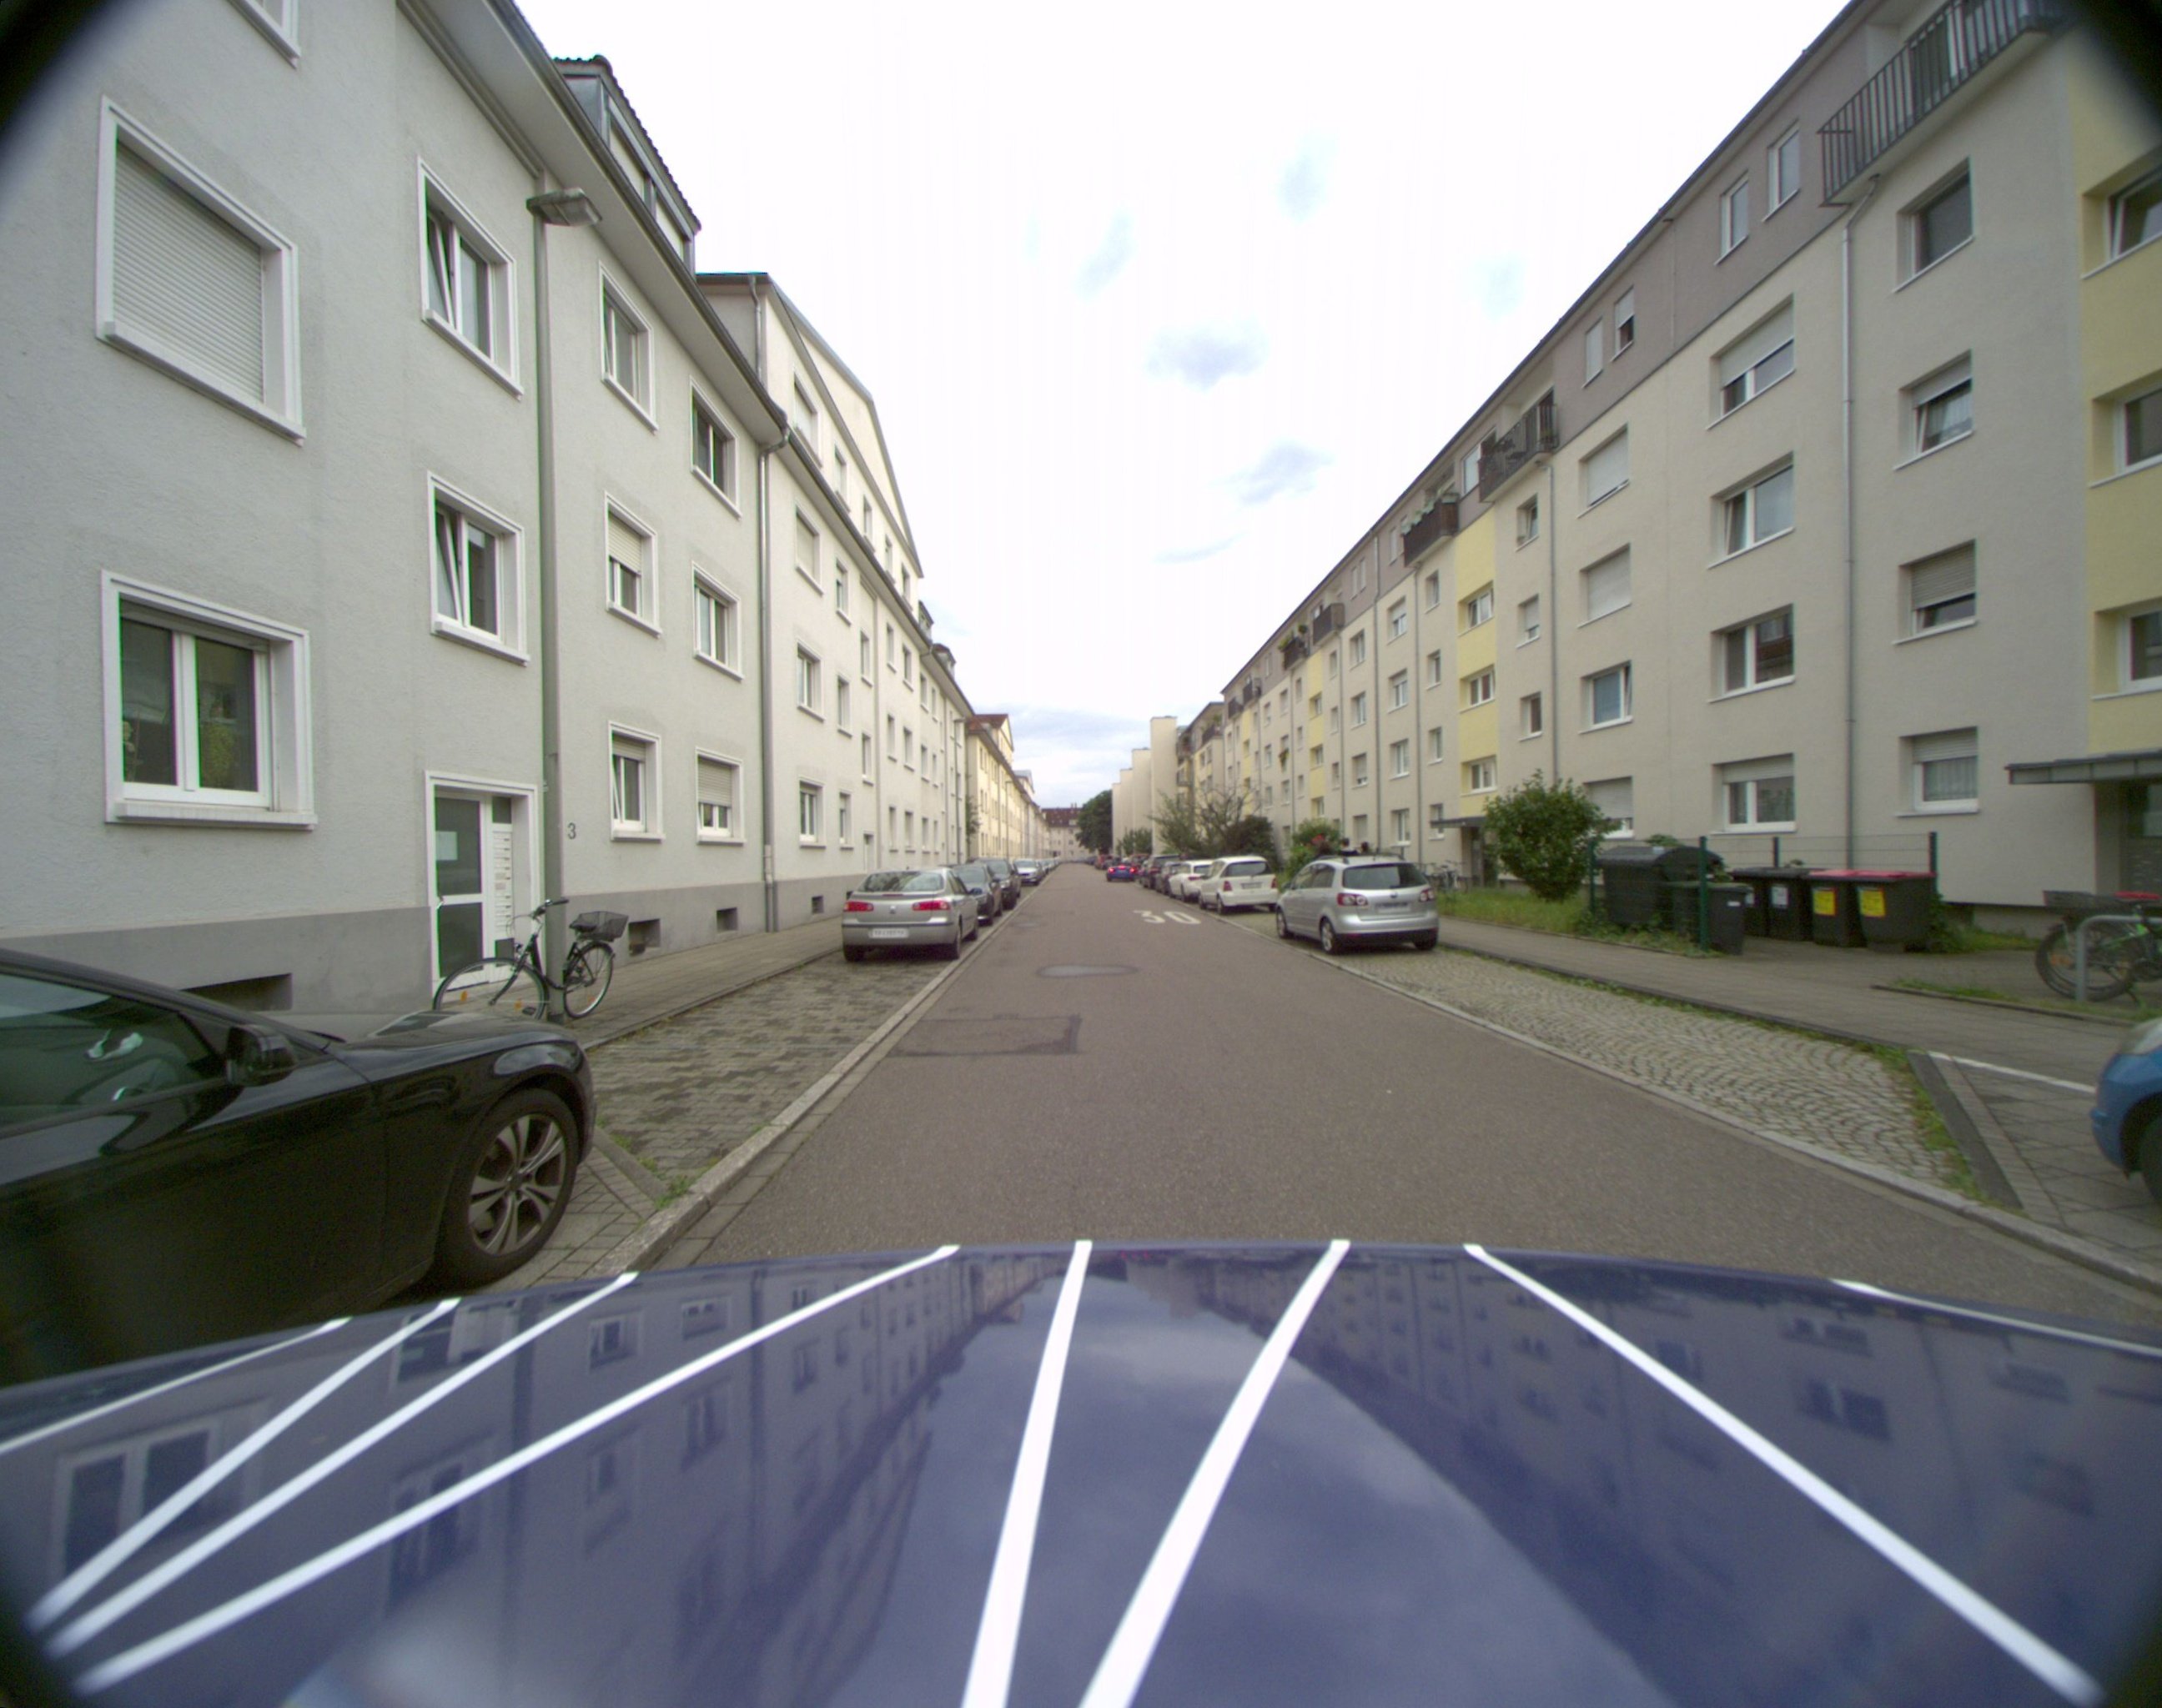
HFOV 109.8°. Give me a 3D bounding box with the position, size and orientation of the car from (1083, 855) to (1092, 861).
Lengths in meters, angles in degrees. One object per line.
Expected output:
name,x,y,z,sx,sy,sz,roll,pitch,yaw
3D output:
car,1.697,0.955,191.187,1.746,1.534,3.636,-1,0,-7

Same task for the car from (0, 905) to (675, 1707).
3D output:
car,-2.813,0.967,1.275,1.865,1.454,4.724,0,0,-2

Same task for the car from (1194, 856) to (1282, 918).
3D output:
car,4.550,0.900,22.477,1.690,1.629,3.727,-1,0,-2

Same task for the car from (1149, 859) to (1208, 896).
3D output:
car,4.187,0.975,33.258,1.730,1.445,4.481,-1,0,-3

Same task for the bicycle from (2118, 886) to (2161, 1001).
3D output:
bicycle,10.494,0.838,6.357,0.659,1.064,2.175,-1,0,0

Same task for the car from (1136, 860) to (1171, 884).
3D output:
car,4.340,1.053,46.101,1.575,1.388,3.541,-1,-1,-3

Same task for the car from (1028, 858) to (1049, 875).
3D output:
car,-3.607,1.052,65.201,1.737,1.402,4.217,-1,0,-2

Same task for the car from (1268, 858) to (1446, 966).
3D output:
car,4.693,0.895,13.541,1.658,1.541,3.915,-4,0,0

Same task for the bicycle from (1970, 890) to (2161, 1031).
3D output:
bicycle,8.908,0.870,6.264,0.659,1.062,2.122,-1,0,0

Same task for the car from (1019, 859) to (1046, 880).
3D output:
car,-3.384,1.071,53.961,1.737,1.418,4.217,-1,0,-1

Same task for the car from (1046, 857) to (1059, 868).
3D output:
car,-3.859,1.079,101.881,1.737,1.443,4.217,-1,0,-2

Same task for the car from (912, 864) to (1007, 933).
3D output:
car,-2.856,0.993,18.742,1.786,1.454,4.322,-1,0,-2

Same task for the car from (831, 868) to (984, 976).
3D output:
car,-2.722,0.992,12.914,1.737,1.454,4.430,-1,0,-2

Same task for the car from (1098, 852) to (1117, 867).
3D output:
car,3.544,0.754,103.038,2.188,2.019,4.422,-1,-1,-3

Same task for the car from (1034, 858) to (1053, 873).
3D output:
car,-3.565,1.081,72.912,1.737,1.363,4.217,-1,0,-2

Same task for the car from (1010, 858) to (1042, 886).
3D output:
car,-3.242,1.018,45.049,1.737,1.538,3.676,-1,0,-2

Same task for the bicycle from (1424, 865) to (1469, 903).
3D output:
bicycle,10.391,0.829,21.649,0.421,1.018,1.559,-1,0,-4

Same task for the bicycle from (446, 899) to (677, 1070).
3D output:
bicycle,-4.472,1.053,6.749,0.750,1.193,1.895,1,0,-1

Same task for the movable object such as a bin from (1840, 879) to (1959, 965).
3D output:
movable object such as a bin,10.633,0.863,9.889,0.866,1.045,0.634,-1,0,-2

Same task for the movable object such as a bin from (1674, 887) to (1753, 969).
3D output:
movable object such as a bin,8.405,0.964,10.115,0.538,1.027,0.598,-1,0,-2

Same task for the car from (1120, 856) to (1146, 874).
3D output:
car,4.303,0.884,62.844,1.707,1.436,3.541,-1,-1,-3

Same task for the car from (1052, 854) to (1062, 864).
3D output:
car,-4.088,0.884,130.907,1.737,1.670,3.591,-1,0,-2

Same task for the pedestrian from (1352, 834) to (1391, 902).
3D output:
pedestrian,7.254,0.349,18.996,0.616,1.647,0.803,-1,0,-1

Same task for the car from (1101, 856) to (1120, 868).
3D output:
car,3.685,0.974,96.804,2.013,1.436,4.196,-1,-1,-3

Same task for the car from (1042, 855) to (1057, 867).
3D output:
car,-3.766,0.880,92.089,1.737,1.443,4.217,-1,0,-2

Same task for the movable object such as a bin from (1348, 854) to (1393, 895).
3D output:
movable object such as a bin,10.244,0.696,26.912,1.060,1.366,1.188,-2,2,-6

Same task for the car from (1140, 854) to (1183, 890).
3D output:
car,4.107,0.900,39.286,1.575,1.769,4.451,-1,-1,-2

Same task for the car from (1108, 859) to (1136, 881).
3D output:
car,2.732,1.054,51.288,1.680,1.307,3.907,-1,1,0

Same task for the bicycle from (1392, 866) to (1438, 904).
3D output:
bicycle,9.504,0.855,21.661,0.479,1.018,1.754,-1,0,-1

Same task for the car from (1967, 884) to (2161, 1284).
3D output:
car,4.953,0.855,1.491,1.735,1.454,3.956,-3,0,-1

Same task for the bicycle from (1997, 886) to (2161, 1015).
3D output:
bicycle,9.670,0.852,6.658,0.659,1.064,2.175,-1,0,0

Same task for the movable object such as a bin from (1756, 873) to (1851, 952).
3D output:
movable object such as a bin,10.640,0.842,11.208,0.844,1.110,0.598,-1,0,-3

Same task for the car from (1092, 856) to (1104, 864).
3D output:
car,3.131,1.113,140.432,1.746,1.534,3.636,-1,-1,-7

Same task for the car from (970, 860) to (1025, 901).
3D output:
car,-3.146,0.970,29.269,1.737,1.478,3.756,-1,0,-1

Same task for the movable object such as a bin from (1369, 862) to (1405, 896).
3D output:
movable object such as a bin,10.399,0.841,25.849,0.871,1.103,0.787,-2,2,-5

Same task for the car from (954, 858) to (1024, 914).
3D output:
car,-2.835,0.944,24.214,1.853,1.589,4.159,-1,0,-2

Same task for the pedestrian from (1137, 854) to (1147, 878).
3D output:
pedestrian,4.142,0.818,51.837,0.603,1.657,0.622,-1,0,-3

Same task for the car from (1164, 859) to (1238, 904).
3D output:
car,4.339,0.959,28.077,1.723,1.501,4.686,-1,-1,-3

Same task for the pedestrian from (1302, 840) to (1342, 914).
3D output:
pedestrian,6.209,0.580,19.600,0.642,1.852,0.974,-3,0,-1

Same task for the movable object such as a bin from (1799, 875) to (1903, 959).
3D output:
movable object such as a bin,10.671,0.853,10.544,0.844,1.110,0.598,-1,0,-3

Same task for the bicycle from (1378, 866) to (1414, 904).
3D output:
bicycle,9.006,0.870,21.737,0.357,1.018,1.497,-1,0,-1

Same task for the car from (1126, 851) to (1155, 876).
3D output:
car,4.419,0.712,56.656,1.707,1.795,3.541,-1,-1,-3

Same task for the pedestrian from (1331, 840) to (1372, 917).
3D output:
pedestrian,6.700,0.596,18.843,0.708,1.843,0.763,-1,0,-1

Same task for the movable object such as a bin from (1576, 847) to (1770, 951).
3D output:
movable object such as a bin,8.856,0.636,11.496,1.593,1.412,1.671,-1,0,-2
